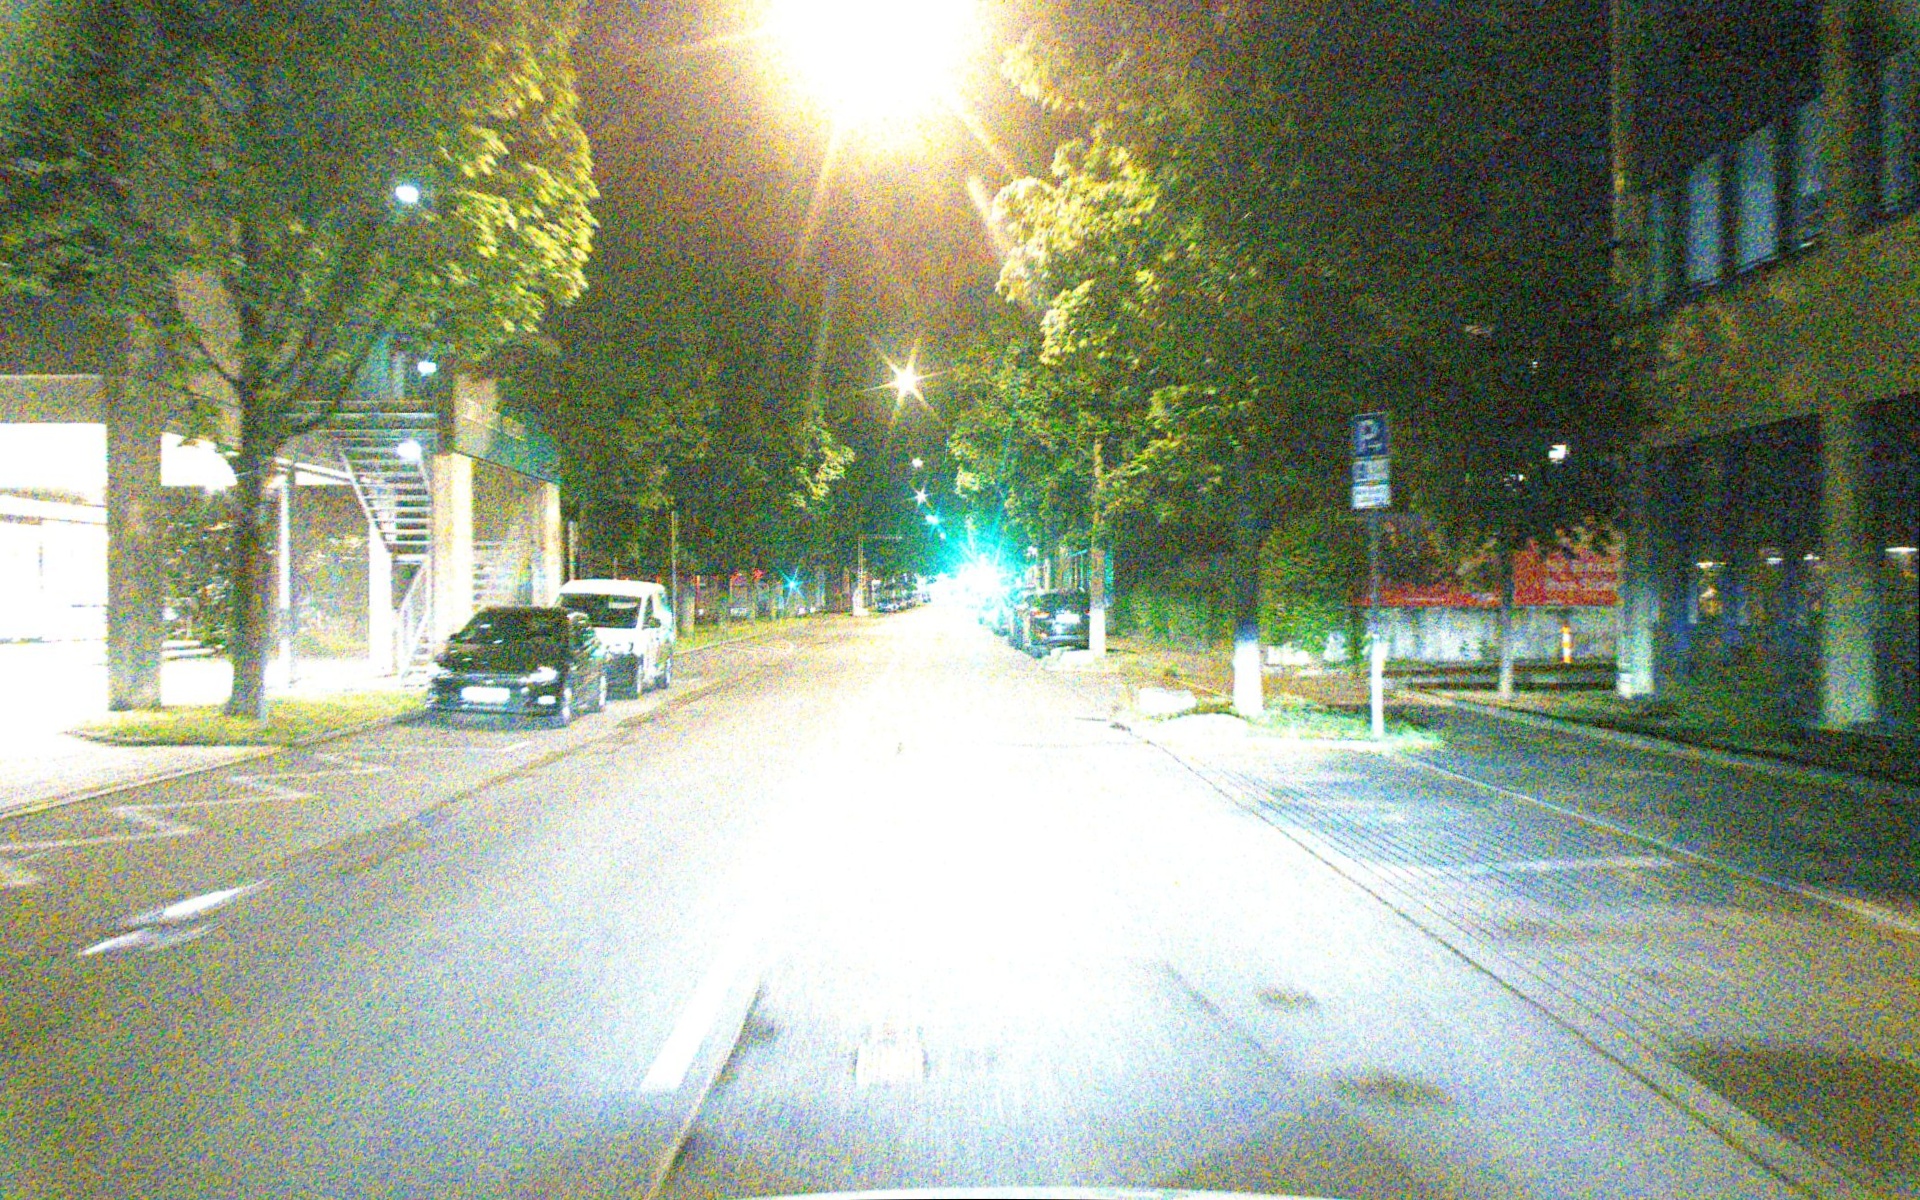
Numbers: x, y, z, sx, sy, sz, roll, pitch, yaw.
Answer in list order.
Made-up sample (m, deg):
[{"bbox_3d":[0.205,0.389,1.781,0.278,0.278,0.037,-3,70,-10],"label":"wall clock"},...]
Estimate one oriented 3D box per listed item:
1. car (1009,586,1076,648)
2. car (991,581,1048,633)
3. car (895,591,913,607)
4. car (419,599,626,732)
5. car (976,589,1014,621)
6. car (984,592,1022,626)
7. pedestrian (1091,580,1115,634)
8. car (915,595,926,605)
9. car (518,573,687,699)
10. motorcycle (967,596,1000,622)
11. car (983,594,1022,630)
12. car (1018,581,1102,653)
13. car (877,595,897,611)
[{"bbox_3d":[2.371,0.462,48.225,1.815,1.632,4.210,-2,1,1],"label":"car"},{"bbox_3d":[2.210,0.256,62.657,1.736,1.838,4.275,-2,0,-3],"label":"car"},{"bbox_3d":[-5.550,-0.122,164.649,1.705,1.440,3.752,0,1,-1],"label":"car"},{"bbox_3d":[-5.581,0.778,21.564,1.666,1.458,3.828,3,0,-1],"label":"car"},{"bbox_3d":[1.804,0.220,86.683,1.815,1.618,4.299,-1,0,-1],"label":"car"},{"bbox_3d":[2.047,0.408,79.420,1.559,1.561,4.137,-2,0,-1],"label":"car"},{"bbox_3d":[4.743,0.220,54.901,0.691,1.752,0.821,-2,0,-1],"label":"pedestrian"},{"bbox_3d":[-5.941,-0.006,249.399,1.705,1.440,3.751,0,0,-1],"label":"car"},{"bbox_3d":[-5.810,0.529,27.396,1.785,1.843,4.210,2,0,0],"label":"car"},{"bbox_3d":[1.187,0.464,82.863,0.625,1.292,2.058,0,0,34],"label":"motorcycle"},{"bbox_3d":[1.775,0.502,69.977,1.489,1.420,3.984,-2,0,0],"label":"car"},{"bbox_3d":[2.508,0.404,42.425,1.815,1.682,4.209,-2,0,0],"label":"car"},{"bbox_3d":[-6.604,0.272,150.058,1.705,1.440,3.751,0,0,-1],"label":"car"}]
